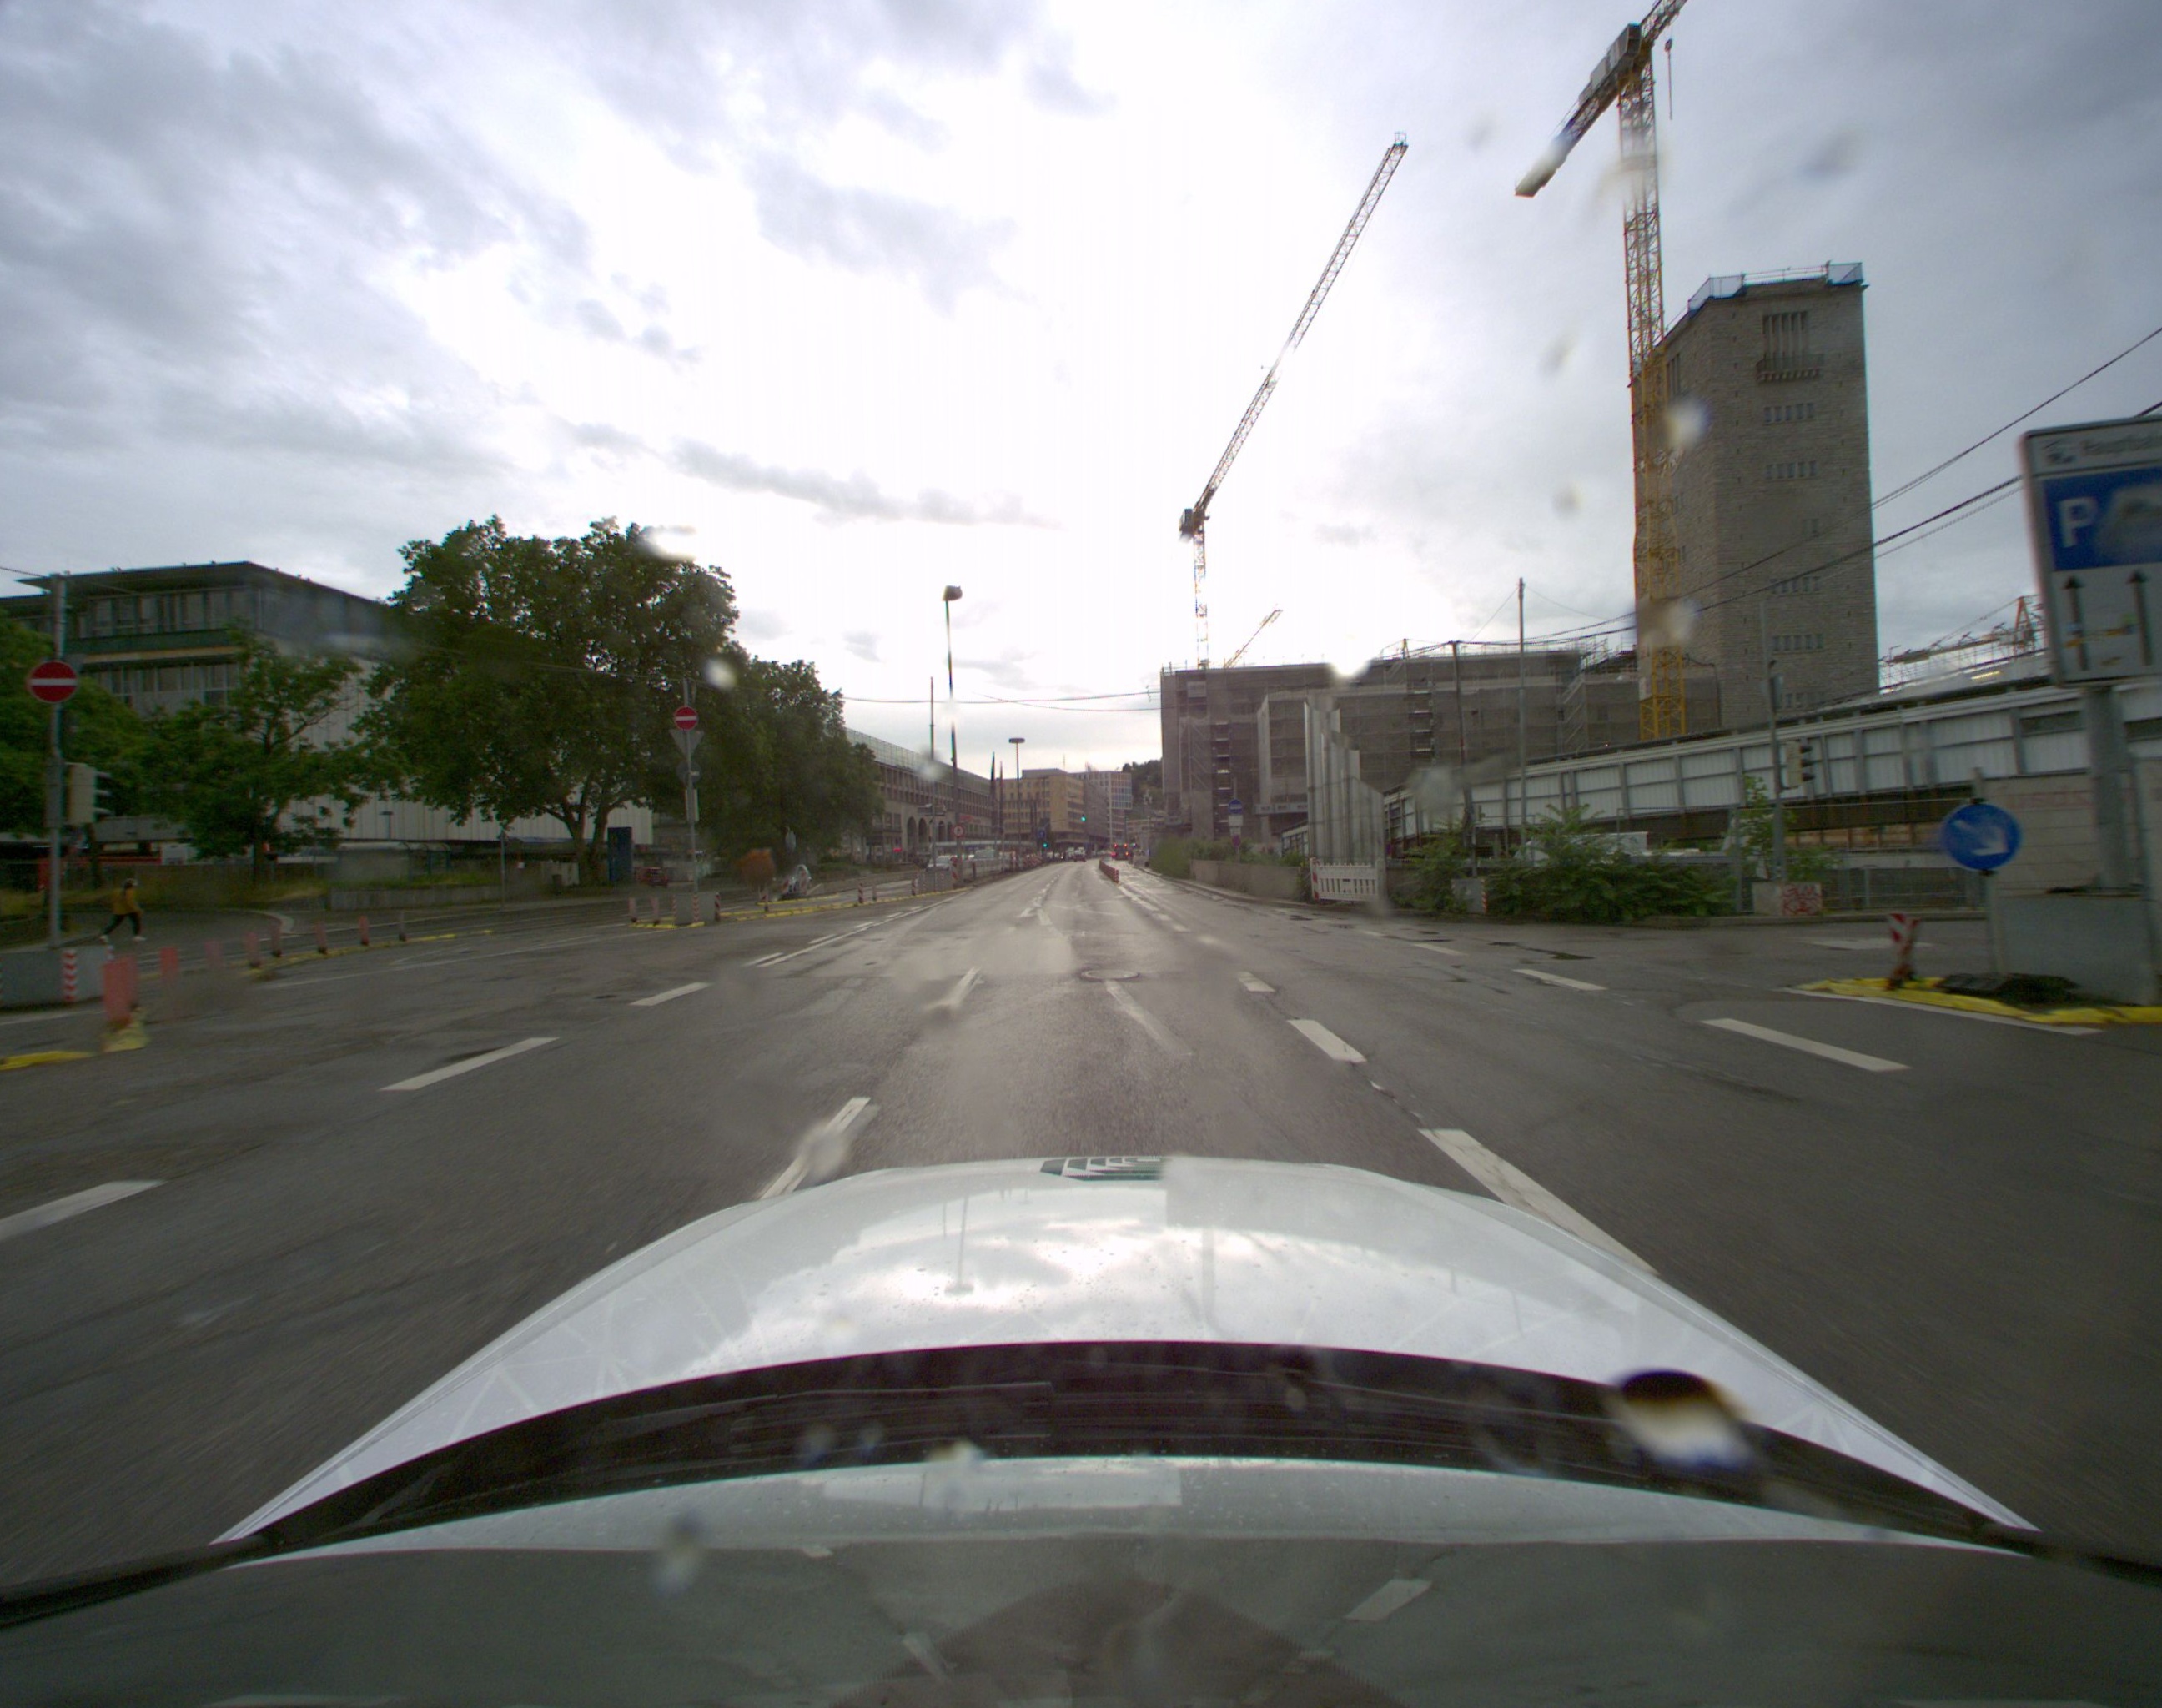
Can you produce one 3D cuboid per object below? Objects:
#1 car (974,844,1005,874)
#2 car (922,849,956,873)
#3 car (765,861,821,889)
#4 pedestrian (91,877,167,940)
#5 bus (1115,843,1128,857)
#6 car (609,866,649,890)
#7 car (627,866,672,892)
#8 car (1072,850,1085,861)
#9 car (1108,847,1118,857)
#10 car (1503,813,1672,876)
[{"bbox_3d":[-7.010,0.413,62.743,1.897,2.083,4.174,-4,-2,-2],"label":"car"},{"bbox_3d":[-10.864,0.572,62.501,1.897,1.528,4.174,-4,-2,-2],"label":"car"},{"bbox_3d":[-17.351,1.301,49.325,1.897,1.528,4.174,-4,-2,-2],"label":"car"},{"bbox_3d":[-24.852,1.417,21.280,0.582,1.557,1.119,-5,-2,18],"label":"pedestrian"},{"bbox_3d":[7.744,-0.775,155.917,1.983,2.431,4.006,-4,-2,6],"label":"bus"},{"bbox_3d":[-34.111,1.800,61.413,1.918,1.528,3.957,-2,-3,-40],"label":"car"},{"bbox_3d":[-30.296,1.745,57.123,1.918,1.528,3.957,-2,-3,-40],"label":"car"},{"bbox_3d":[-0.386,0.248,133.427,1.897,1.528,4.174,-4,-2,-2],"label":"car"},{"bbox_3d":[7.450,-0.395,188.398,1.984,2.014,4.005,-4,-2,5],"label":"car"},{"bbox_3d":[18.661,-0.330,30.160,2.367,2.131,4.820,-2,1,-42],"label":"car"}]
